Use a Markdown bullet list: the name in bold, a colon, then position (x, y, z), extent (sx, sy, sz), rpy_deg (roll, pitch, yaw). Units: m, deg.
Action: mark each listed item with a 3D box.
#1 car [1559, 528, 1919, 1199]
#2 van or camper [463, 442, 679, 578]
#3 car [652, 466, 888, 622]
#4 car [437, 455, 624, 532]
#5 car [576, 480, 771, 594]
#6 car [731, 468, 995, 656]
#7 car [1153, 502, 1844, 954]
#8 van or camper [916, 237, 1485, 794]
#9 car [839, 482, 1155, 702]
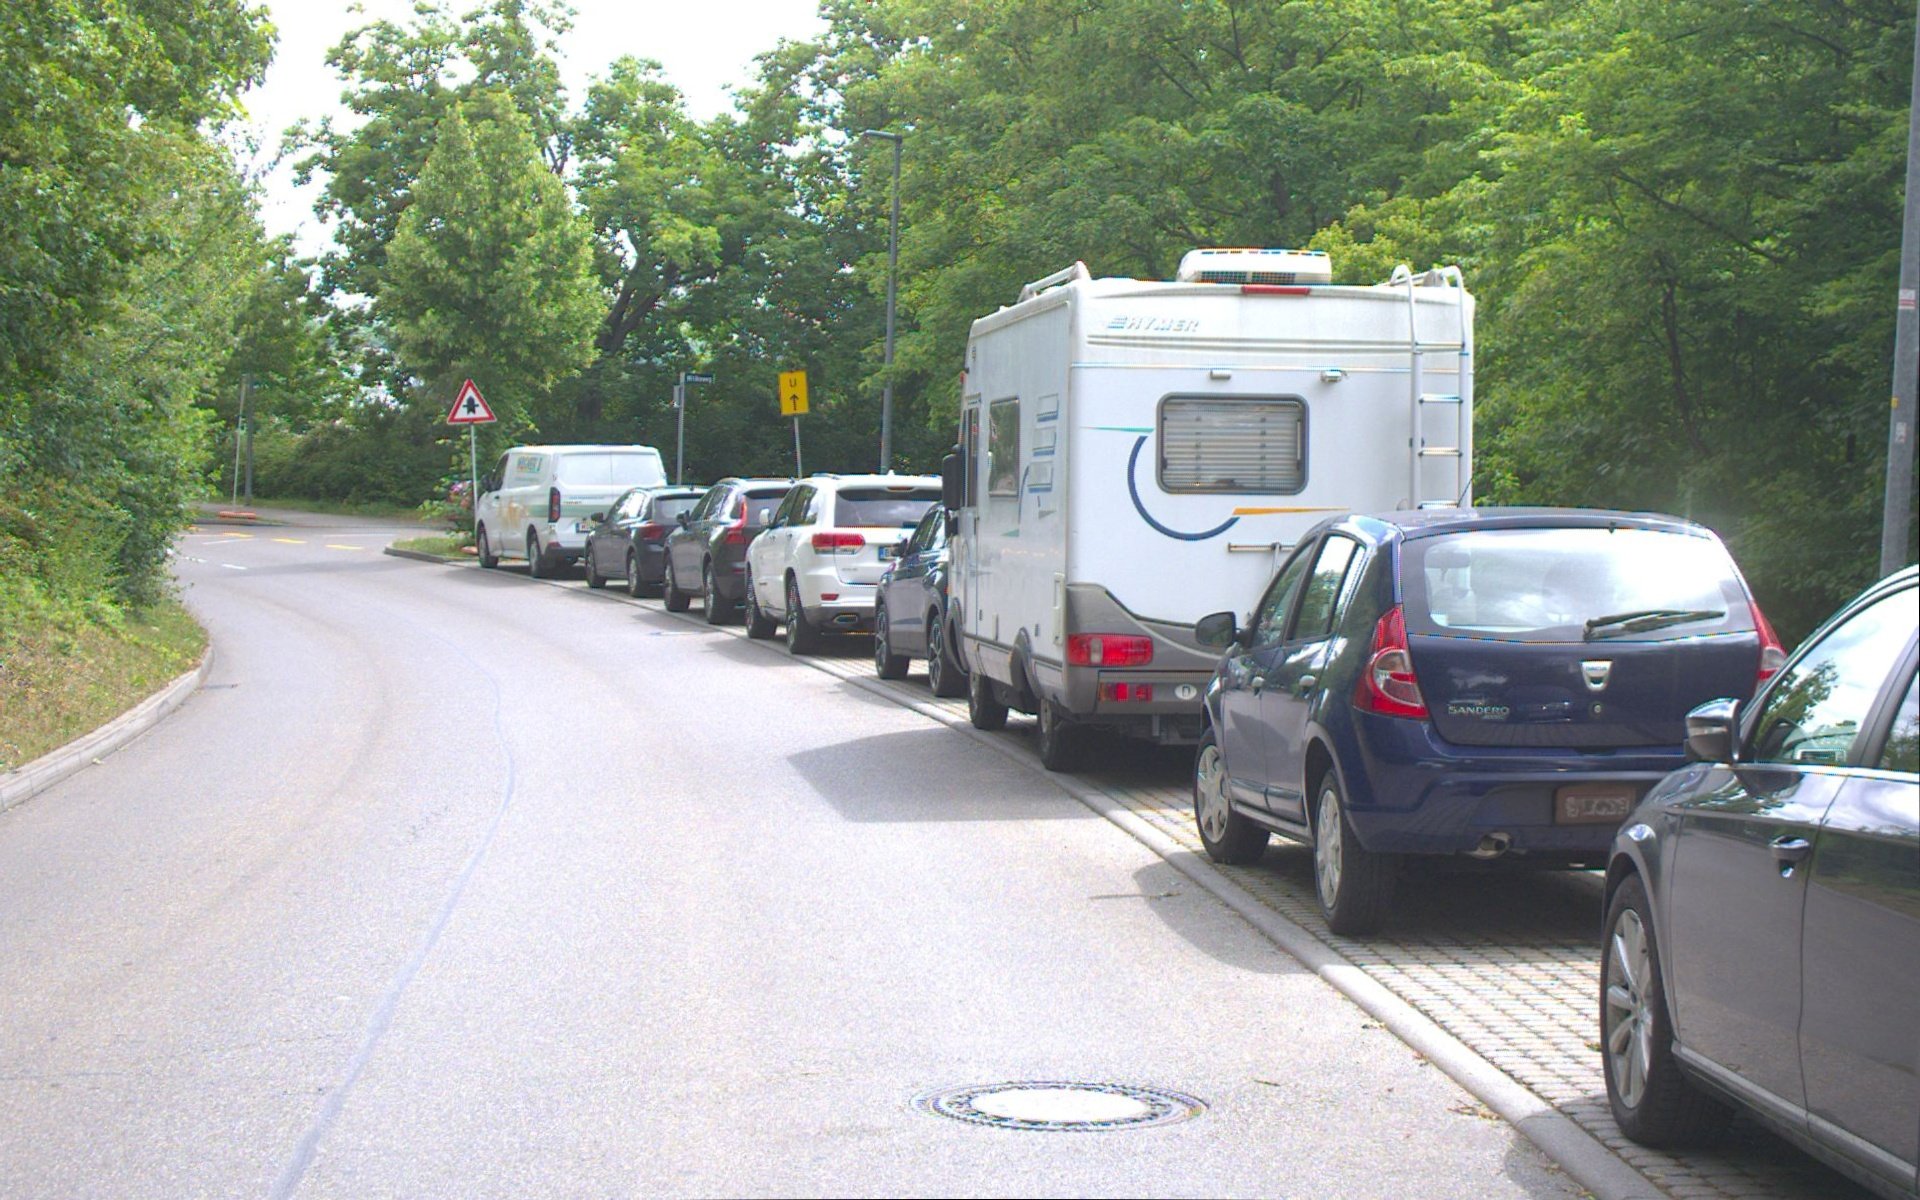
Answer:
- **car**: position (2.468, 0.595, 6.484), extent (1.776, 1.429, 4.334), rpy_deg (0, 2, -2)
- **van or camper**: position (-5.986, -1.425, 52.313), extent (1.993, 1.913, 5.268), rpy_deg (-1, 3, -21)
- **car**: position (-2.283, -0.708, 40.244), extent (1.993, 1.620, 4.280), rpy_deg (-2, 3, -13)
- **car**: position (-8.846, -2.192, 70.678), extent (3.535, 1.475, 1.783), rpy_deg (0, 4, -18)
- **car**: position (-3.948, -0.881, 46.794), extent (1.797, 1.459, 4.002), rpy_deg (0, 2, -18)
- **car**: position (-1.050, -0.434, 34.338), extent (1.871, 1.683, 4.581), rpy_deg (1, 2, -11)
- **car**: position (1.944, 0.410, 13.584), extent (1.728, 1.514, 3.890), rpy_deg (0, 1, -6)
- **van or camper**: position (1.232, -0.523, 21.098), extent (2.332, 2.859, 6.152), rpy_deg (1, 2, -6)
- **car**: position (0.211, -0.114, 27.411), extent (1.710, 1.586, 4.001), rpy_deg (1, 1, -11)
